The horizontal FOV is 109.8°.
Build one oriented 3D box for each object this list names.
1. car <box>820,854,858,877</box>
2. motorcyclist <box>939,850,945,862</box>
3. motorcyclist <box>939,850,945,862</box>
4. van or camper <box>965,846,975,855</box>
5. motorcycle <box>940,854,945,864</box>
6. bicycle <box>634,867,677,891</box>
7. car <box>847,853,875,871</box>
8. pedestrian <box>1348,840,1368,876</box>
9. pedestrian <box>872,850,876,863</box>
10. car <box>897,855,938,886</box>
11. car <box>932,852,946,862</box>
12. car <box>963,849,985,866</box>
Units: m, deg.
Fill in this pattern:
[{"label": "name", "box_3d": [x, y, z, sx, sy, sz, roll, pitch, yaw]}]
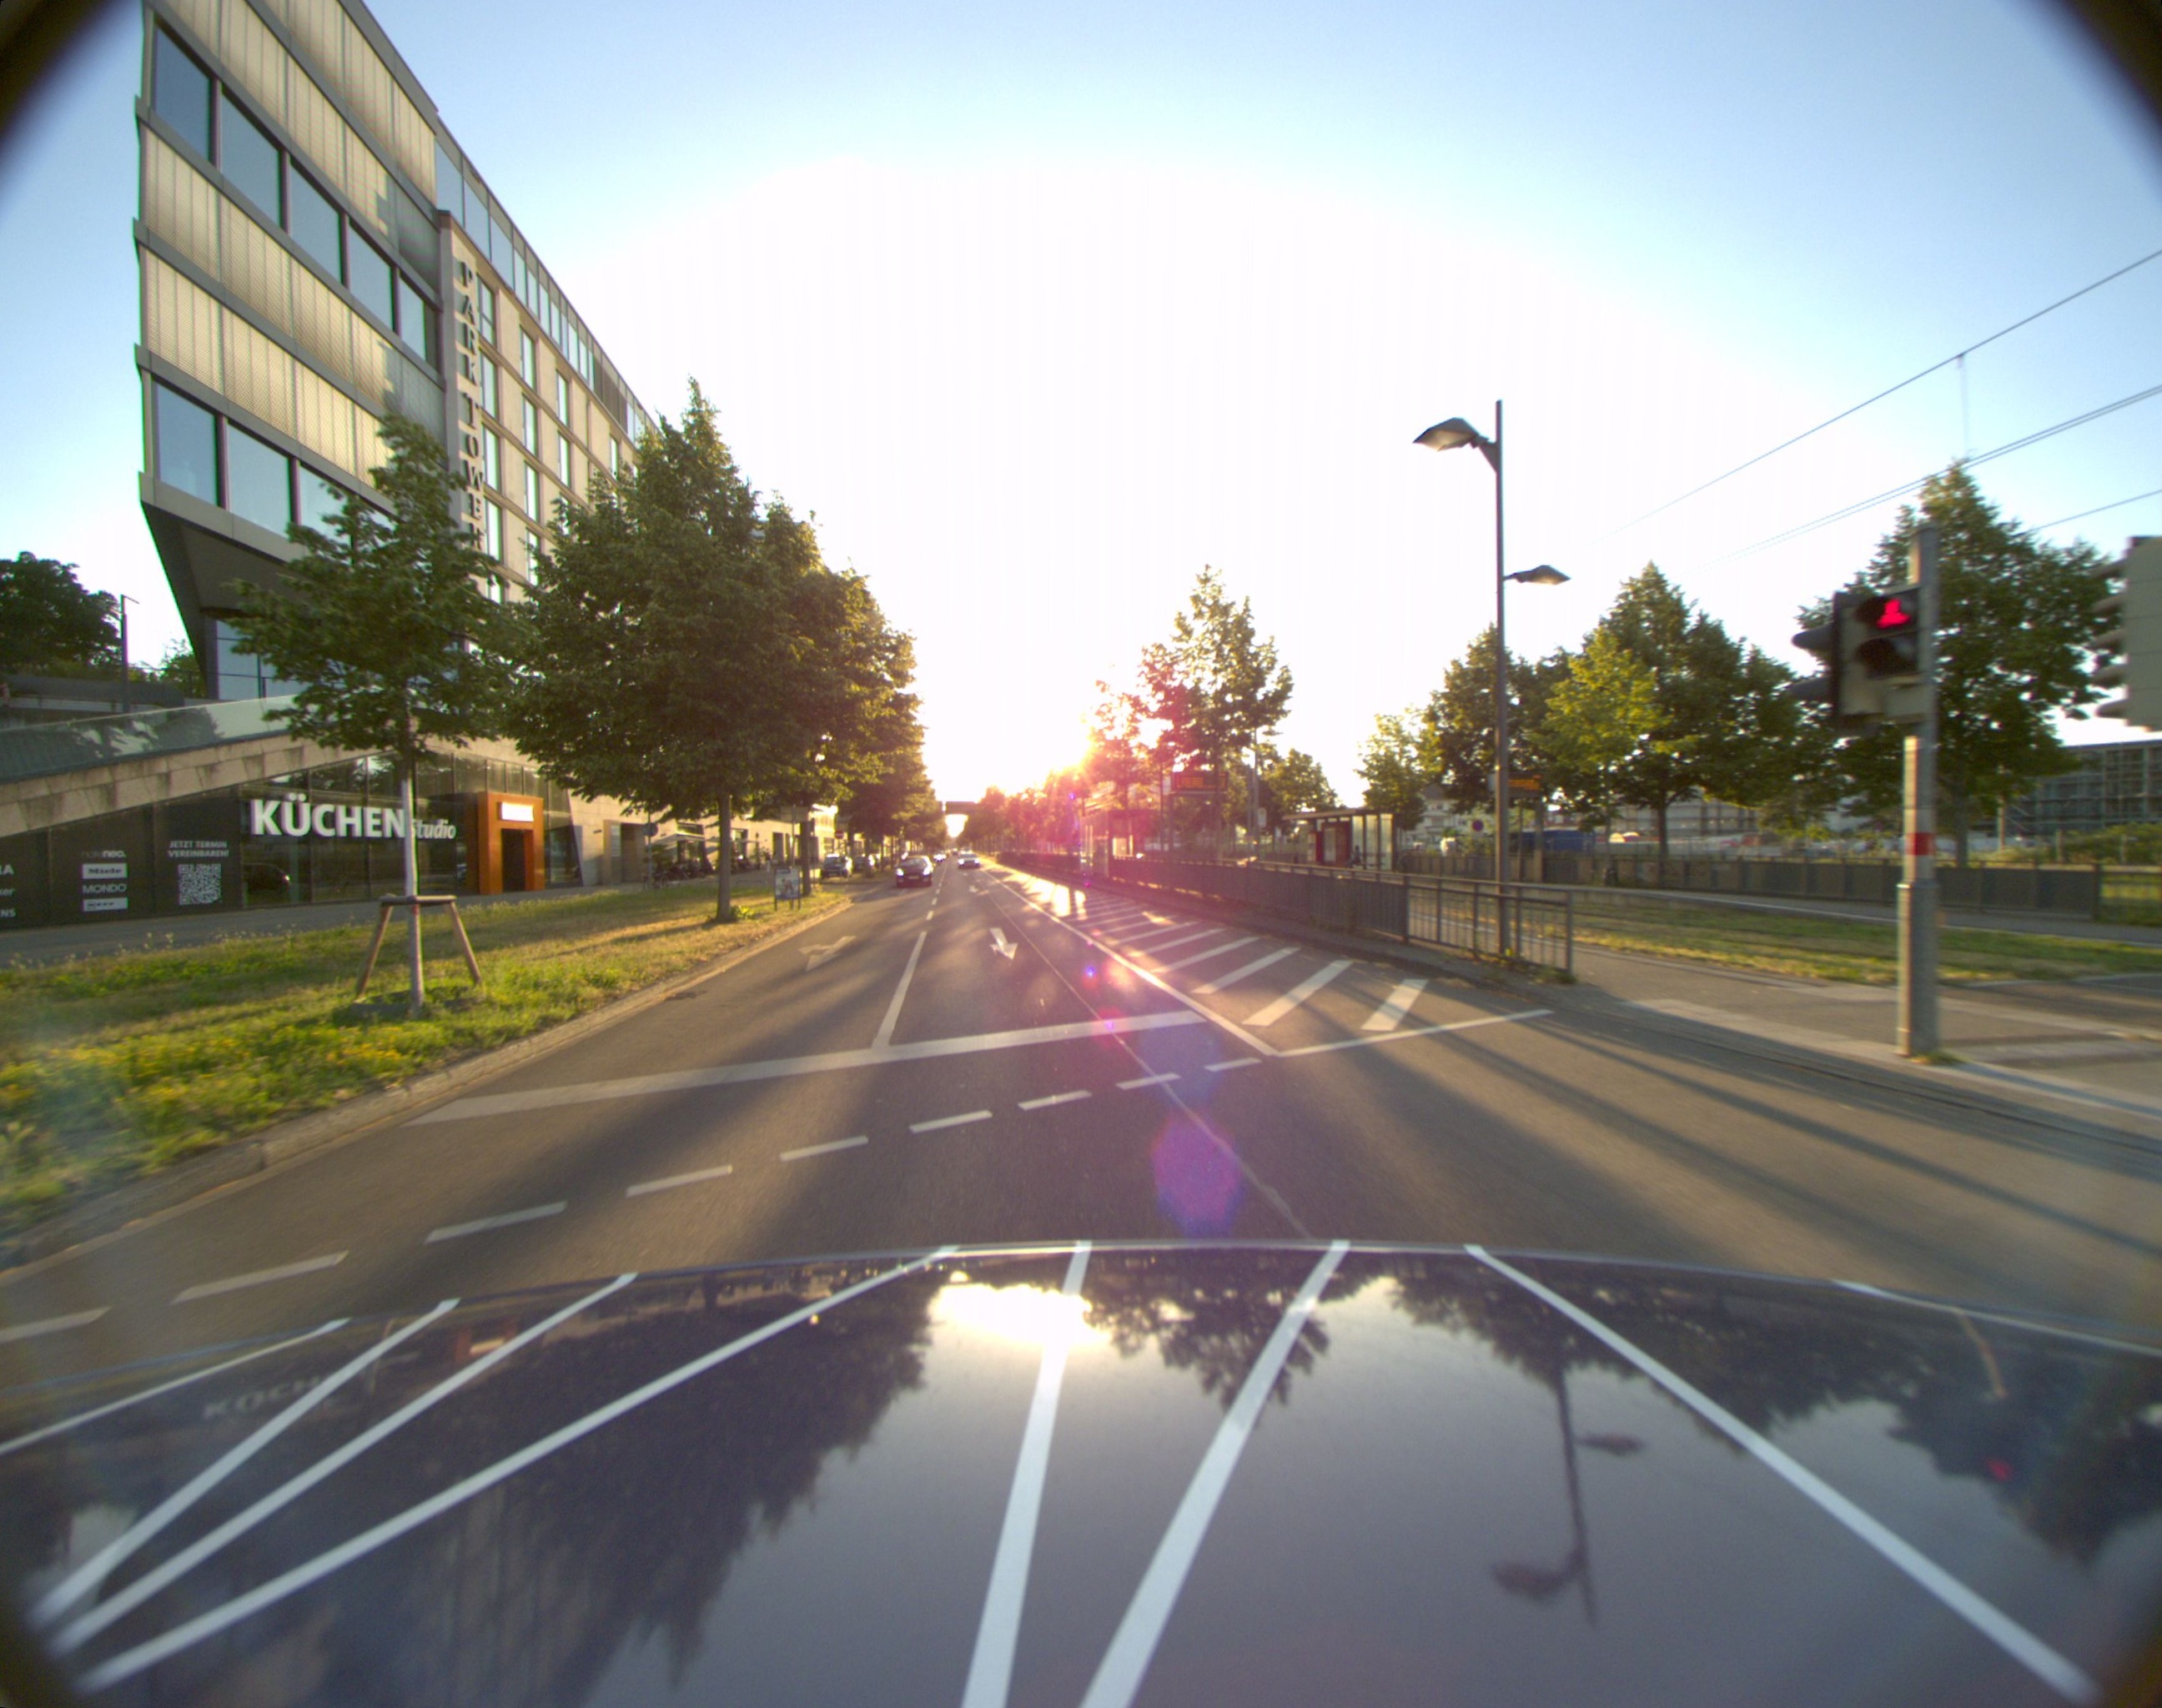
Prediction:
[{"label": "car", "box_3d": [-16.055, 0.716, 50.558, 1.803, 1.455, 3.996, -1, 0, -9]}, {"label": "motorcyclist", "box_3d": [-15.599, 0.227, 85.463, 0.636, 1.400, 0.593, -1, 1, -9]}, {"label": "motorcyclist", "box_3d": [-15.503, 0.211, 84.815, 0.636, 1.408, 0.714, -1, 1, -9]}, {"label": "van or camper", "box_3d": [-24.897, -0.830, 169.907, 2.000, 1.946, 5.323, -1, 1, -10]}, {"label": "motorcycle", "box_3d": [-15.540, 0.583, 85.215, 0.558, 1.094, 2.158, -1, 0, -9]}, {"label": "bicycle", "box_3d": [-17.105, 0.997, 30.620, 0.550, 0.846, 2.643, -1, 0, -7]}, {"label": "car", "box_3d": [-18.782, 0.662, 65.104, 1.803, 1.455, 3.996, -1, 0, -9]}, {"label": "pedestrian", "box_3d": [12.669, 0.199, 34.723, 0.708, 1.623, 0.446, -1, 1, -11]}, {"label": "pedestrian", "box_3d": [-32.462, 0.445, 119.163, 0.539, 2.002, 0.527, -1, 1, -10]}, {"label": "car", "box_3d": [-8.130, 0.788, 38.064, 1.803, 1.455, 3.996, -1, 0, -9]}, {"label": "car", "box_3d": [-21.671, 0.446, 116.041, 1.893, 1.472, 4.047, -1, 1, -9]}, {"label": "car", "box_3d": [-9.559, 0.280, 67.471, 1.803, 1.414, 4.445, -1, 0, -9]}]
